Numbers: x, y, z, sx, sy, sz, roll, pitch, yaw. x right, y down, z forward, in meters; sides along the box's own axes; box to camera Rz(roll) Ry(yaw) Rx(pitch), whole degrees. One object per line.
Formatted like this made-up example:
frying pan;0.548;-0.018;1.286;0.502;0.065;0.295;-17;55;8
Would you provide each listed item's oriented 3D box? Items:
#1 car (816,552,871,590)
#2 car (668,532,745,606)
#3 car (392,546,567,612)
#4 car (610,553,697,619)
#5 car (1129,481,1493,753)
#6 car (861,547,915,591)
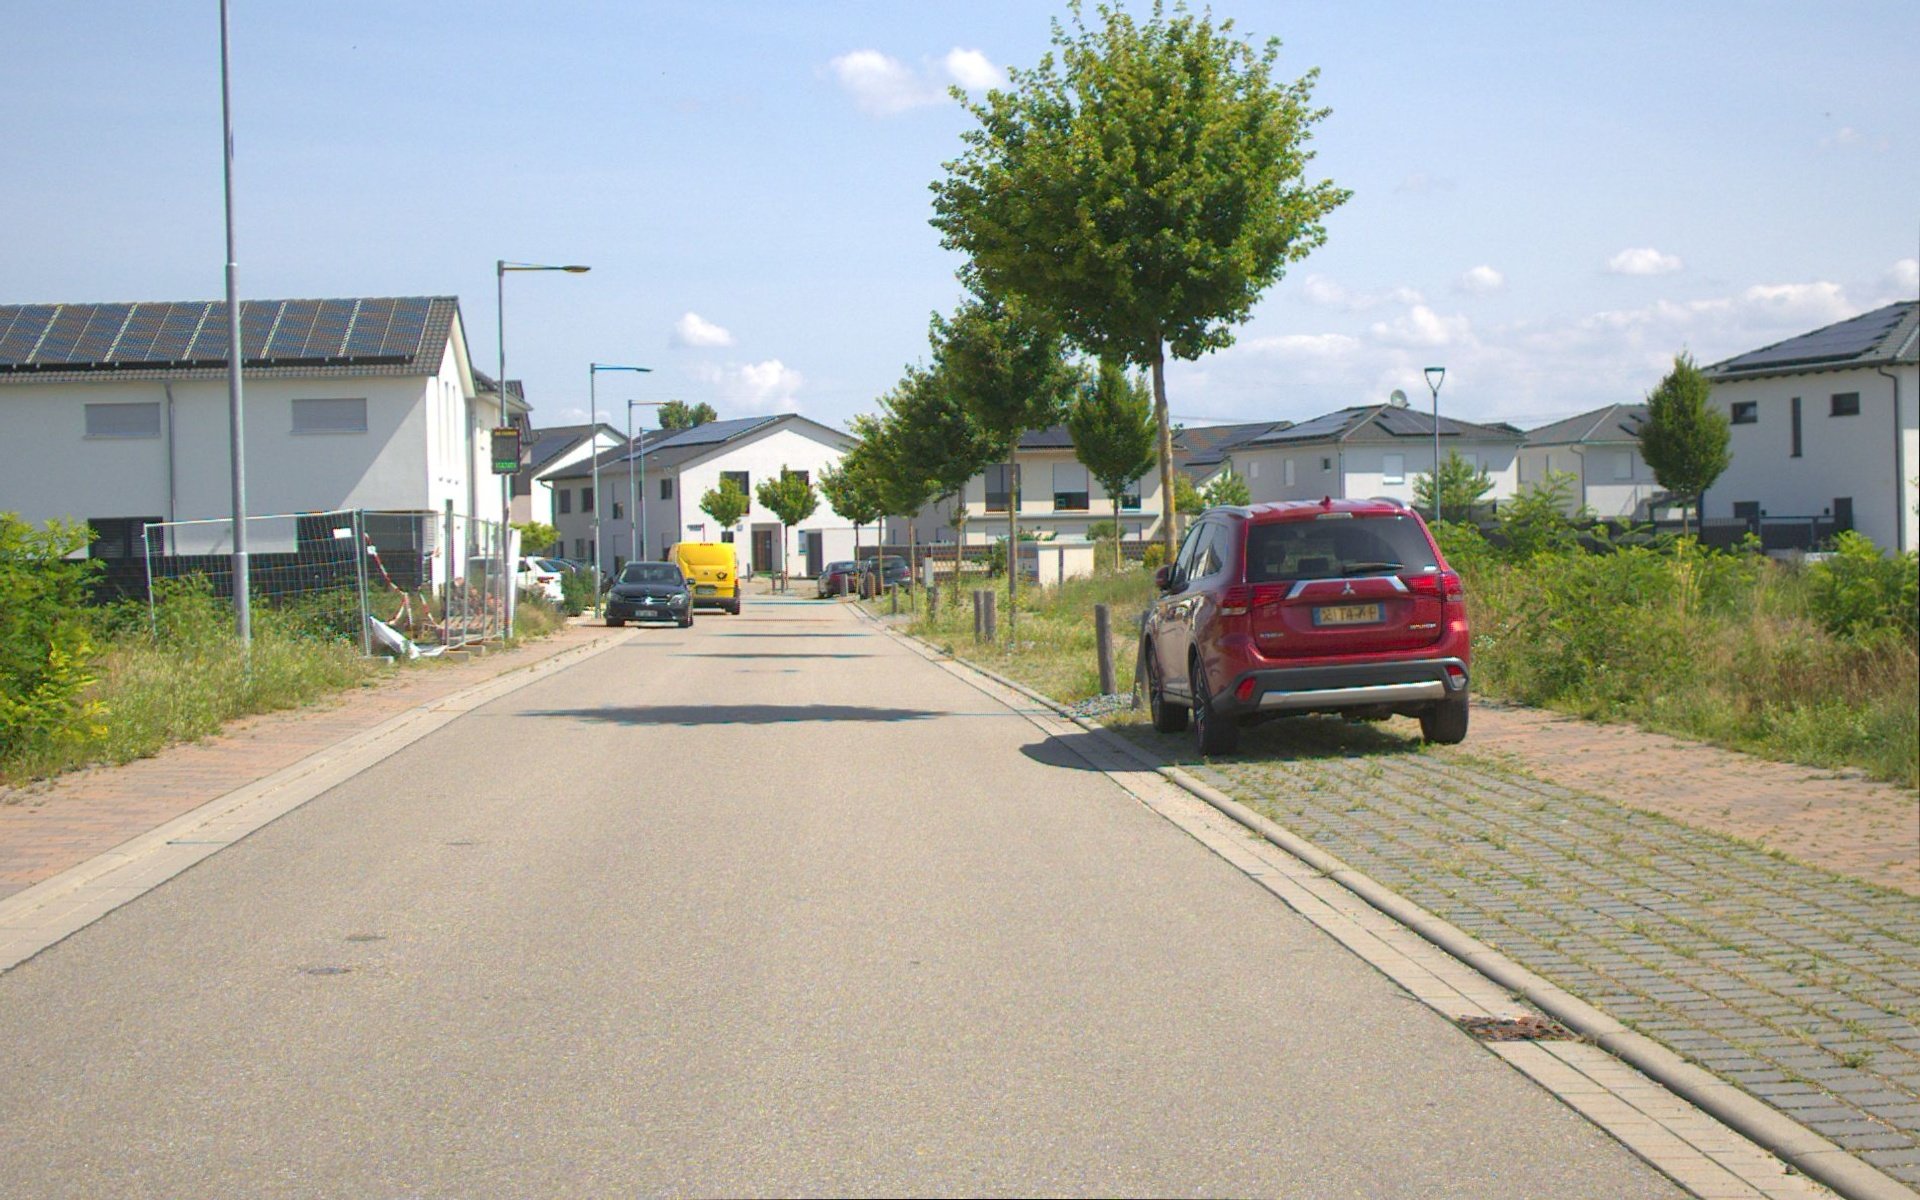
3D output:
car;-4.573;-1.123;134.762;1.627;1.318;3.834;-1;-1;-9
car;-7.097;-0.848;95.932;1.941;1.975;4.218;-1;0;-7
car;-12.018;-0.538;86.075;4.069;1.576;1.784;0;2;3
car;-6.741;-0.329;75.886;1.745;1.400;4.160;1;1;-3
car;2.352;0.059;24.137;1.776;1.657;4.434;-2;1;-3
car;-2.443;-1.035;116.219;1.639;1.398;3.811;-1;-1;-4
